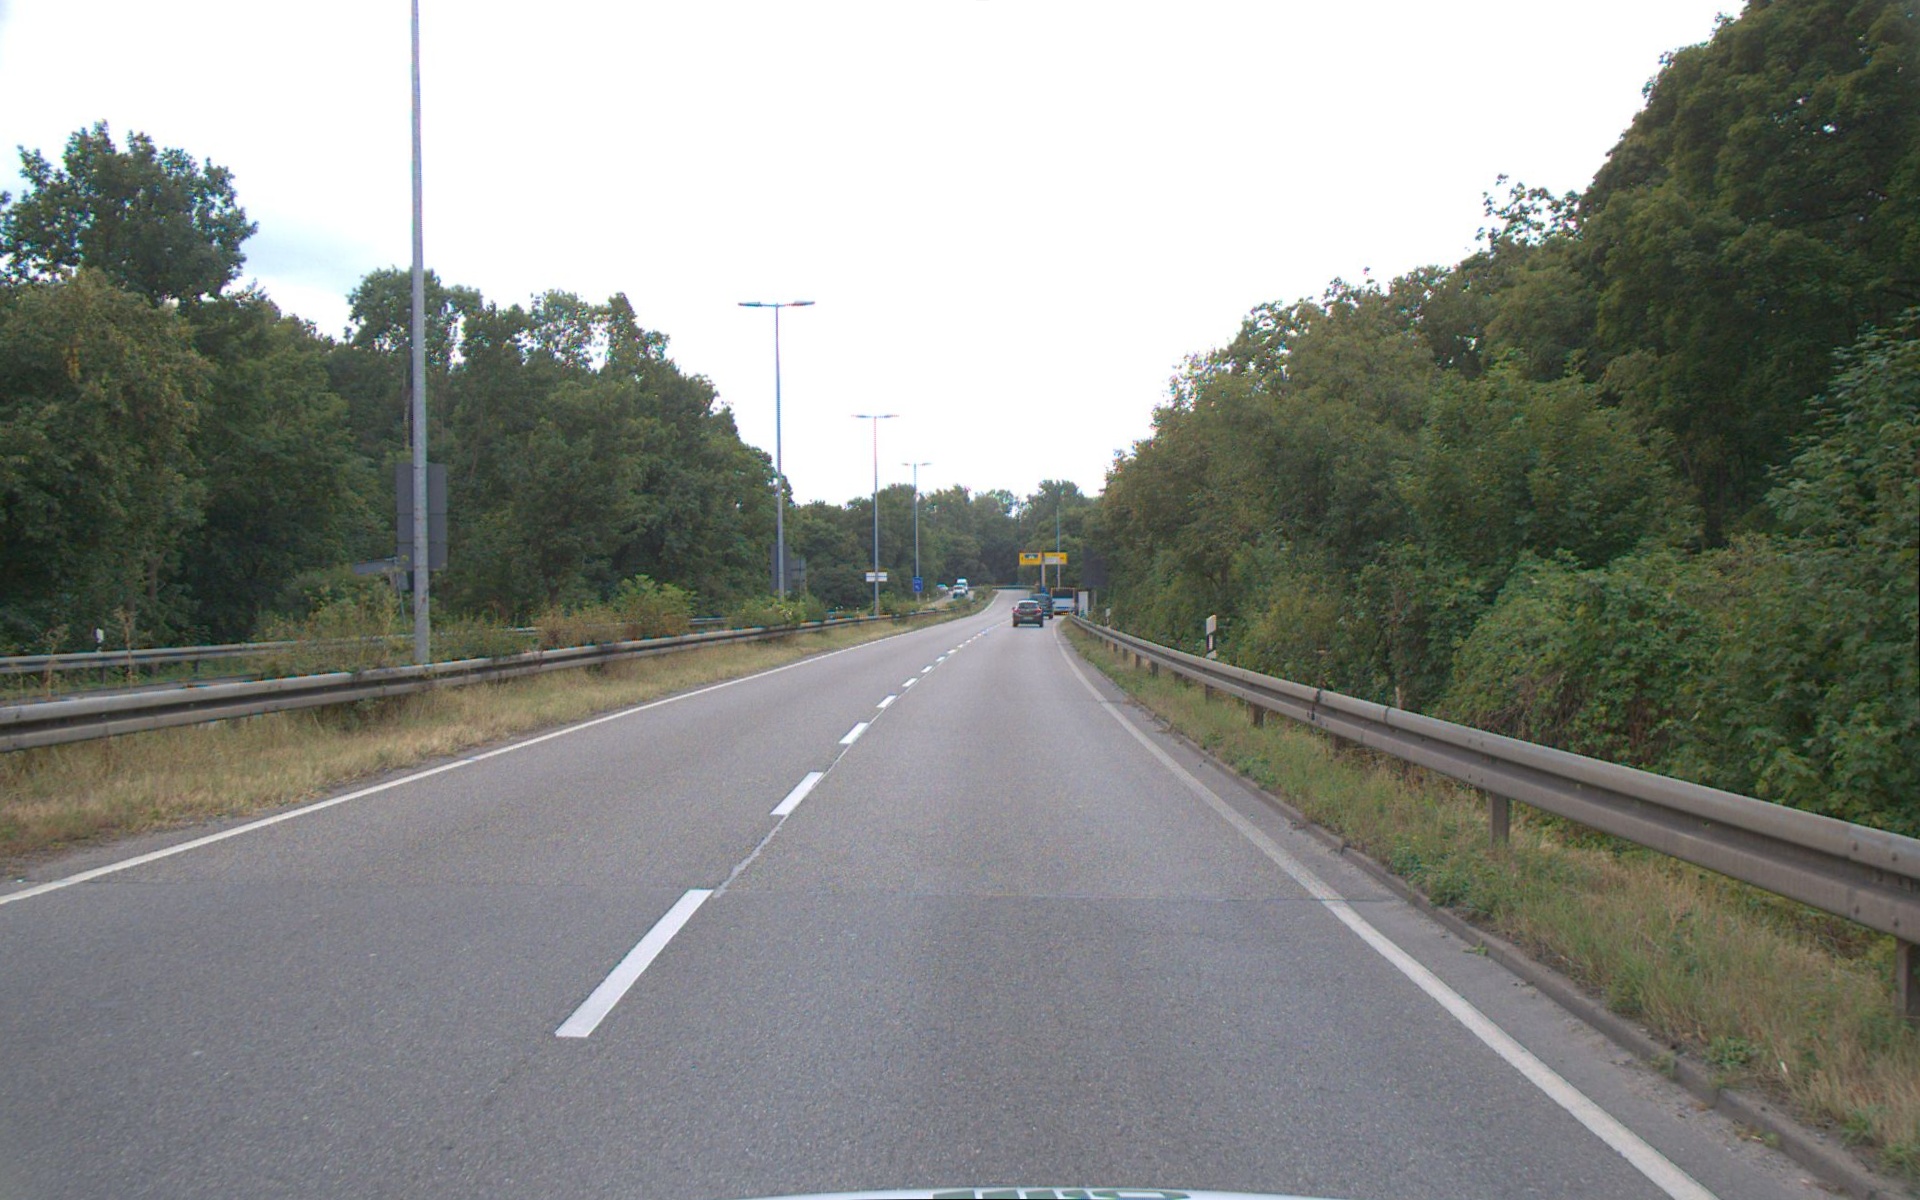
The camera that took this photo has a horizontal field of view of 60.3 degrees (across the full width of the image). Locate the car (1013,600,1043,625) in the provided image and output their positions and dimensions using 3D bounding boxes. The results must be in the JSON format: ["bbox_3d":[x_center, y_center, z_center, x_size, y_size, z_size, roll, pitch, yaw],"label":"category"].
[{"bbox_3d":[3.964,0.735,95.640,1.591,1.402,4.002,0,-1,4],"label":"car"}]

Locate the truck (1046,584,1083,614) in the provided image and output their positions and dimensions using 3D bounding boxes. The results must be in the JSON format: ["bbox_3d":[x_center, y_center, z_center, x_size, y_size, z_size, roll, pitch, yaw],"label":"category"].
[{"bbox_3d":[10.967,-0.068,173.015,2.917,2.936,7.997,-1,-1,10],"label":"truck"}]

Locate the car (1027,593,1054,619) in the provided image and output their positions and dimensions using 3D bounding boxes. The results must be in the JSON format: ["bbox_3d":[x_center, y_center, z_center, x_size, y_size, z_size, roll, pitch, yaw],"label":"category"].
[{"bbox_3d":[6.610,0.511,135.037,2.103,2.049,4.002,0,-1,4],"label":"car"}]
